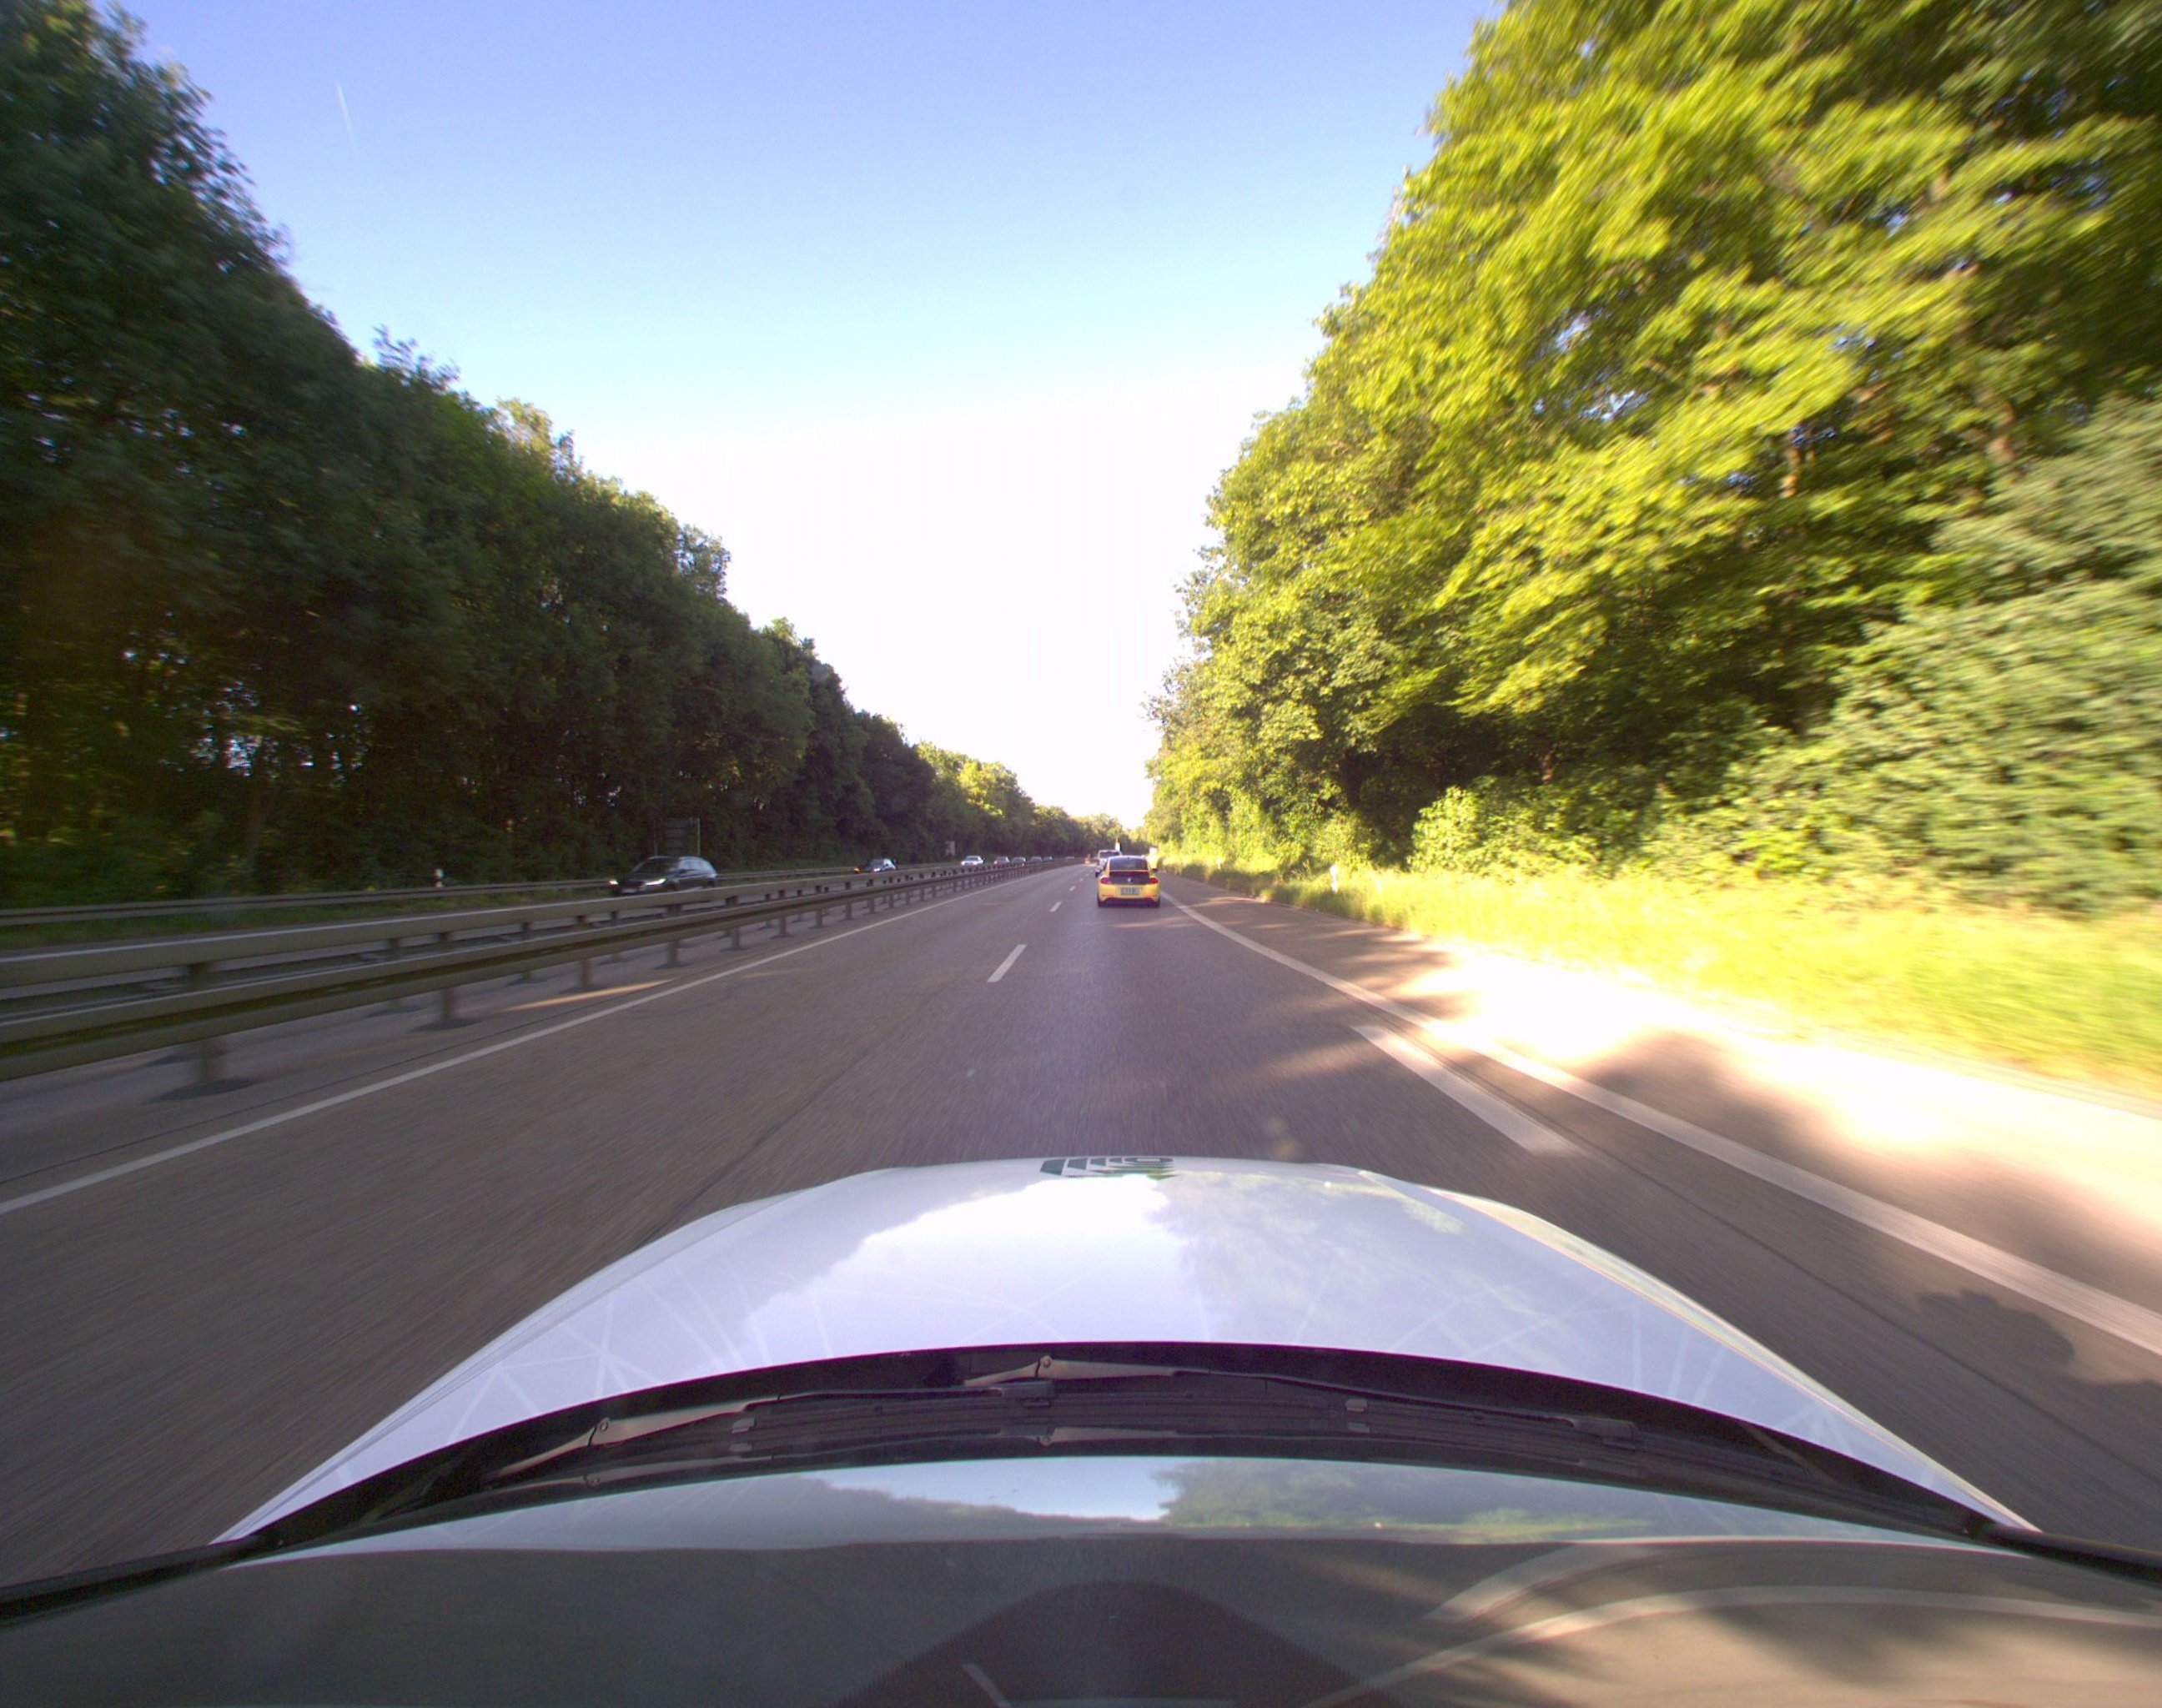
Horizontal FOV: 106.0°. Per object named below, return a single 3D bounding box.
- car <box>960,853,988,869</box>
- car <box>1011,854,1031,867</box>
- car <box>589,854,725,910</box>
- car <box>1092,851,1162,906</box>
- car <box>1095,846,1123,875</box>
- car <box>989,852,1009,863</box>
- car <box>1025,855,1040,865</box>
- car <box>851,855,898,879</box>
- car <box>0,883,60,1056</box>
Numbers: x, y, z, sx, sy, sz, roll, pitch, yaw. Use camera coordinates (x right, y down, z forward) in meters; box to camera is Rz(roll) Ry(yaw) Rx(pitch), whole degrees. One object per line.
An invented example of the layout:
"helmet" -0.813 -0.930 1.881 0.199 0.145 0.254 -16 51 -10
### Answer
"car" -11.726 0.799 89.459 1.984 1.623 4.796 -3 0 5
"car" -7.089 0.735 97.240 1.716 1.468 4.102 -3 0 5
"car" -14.524 0.905 28.277 1.986 1.699 4.910 -3 0 2
"car" 1.425 0.672 24.351 1.930 1.508 3.427 -1 0 5
"car" 1.829 0.404 53.525 1.735 1.830 3.424 0 0 2
"car" -11.028 0.474 110.268 1.985 1.464 4.004 -3 0 3
"car" -7.107 0.889 119.759 1.718 1.373 4.097 -2 -2 2
"car" -14.063 0.865 55.665 1.986 1.486 4.001 -3 0 2
"car" -10.894 1.094 5.483 1.986 1.560 4.709 -3 0 2
